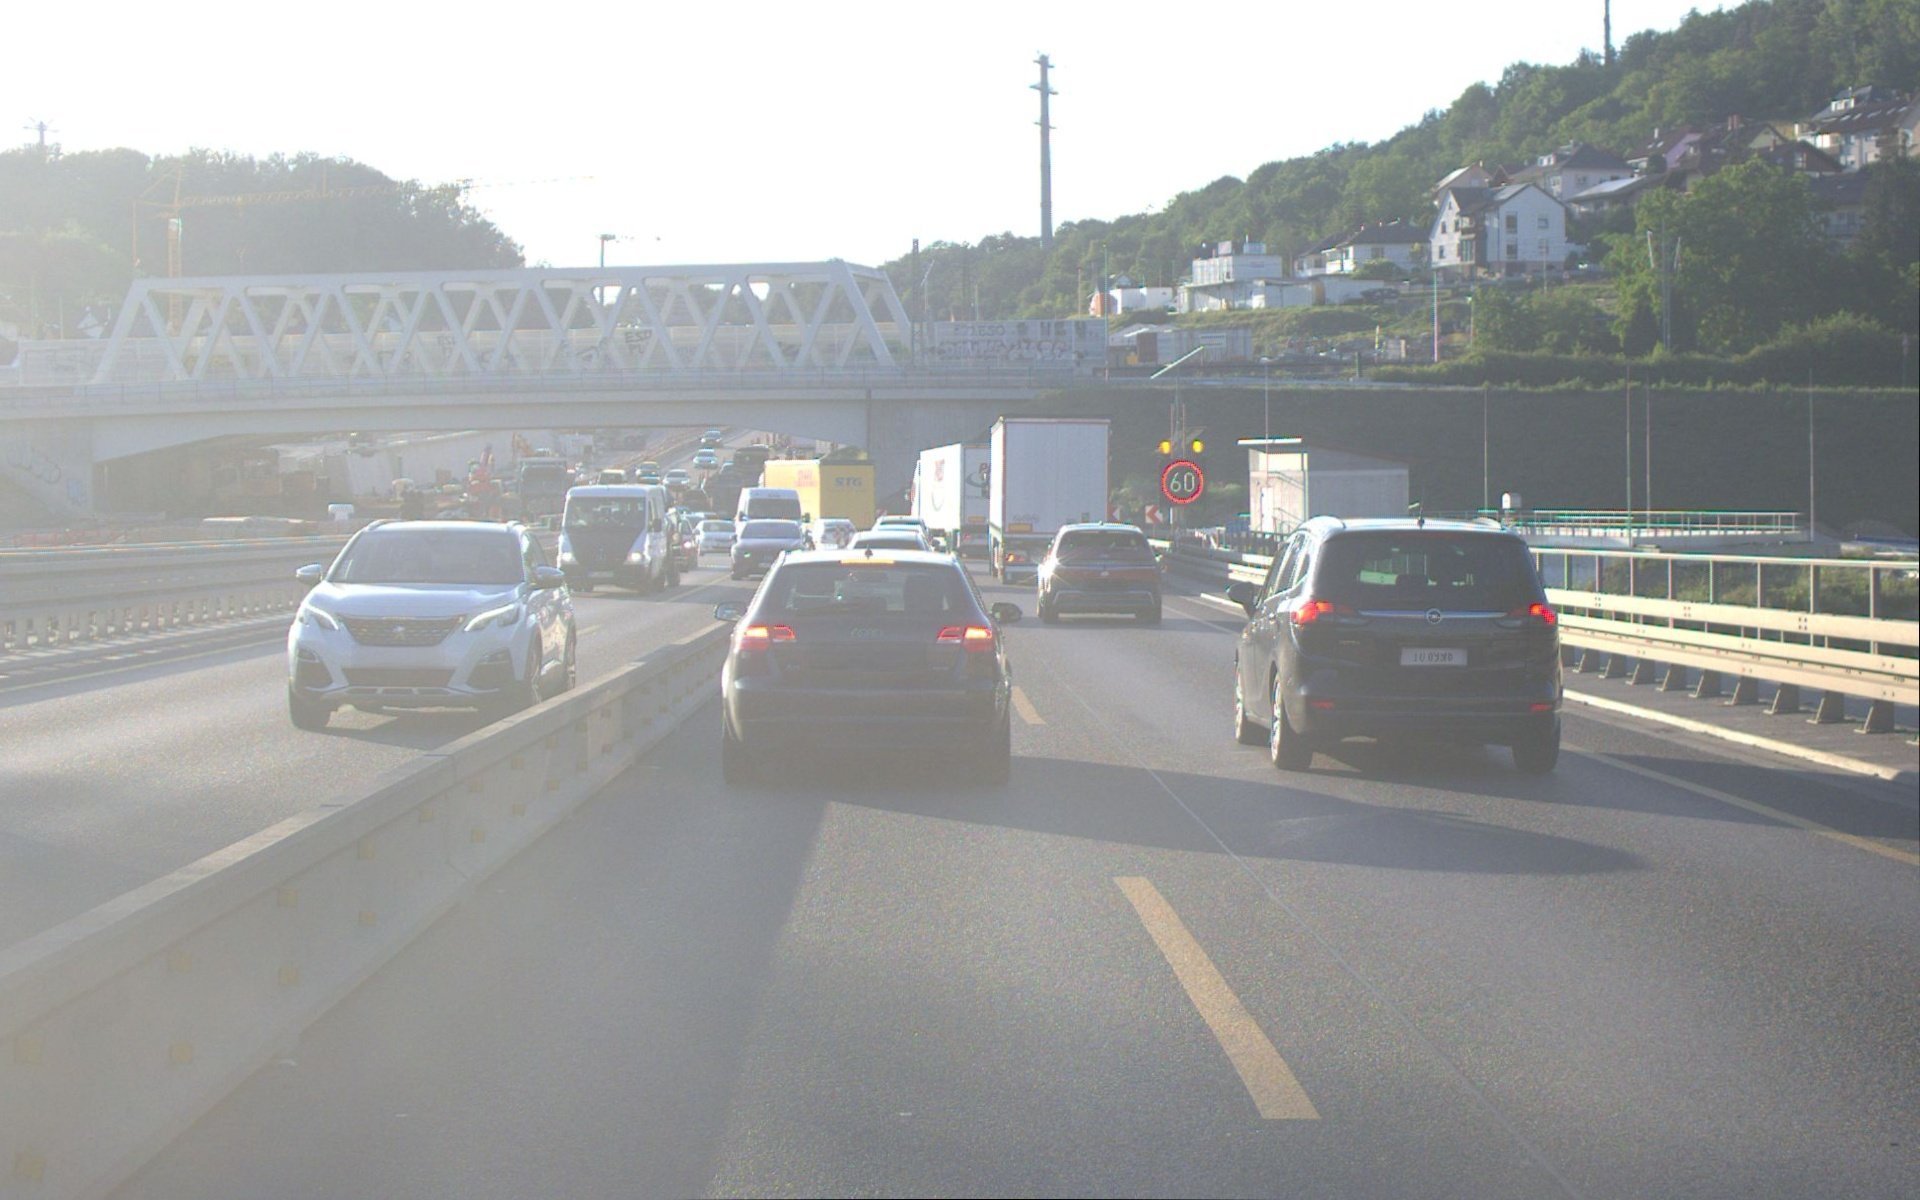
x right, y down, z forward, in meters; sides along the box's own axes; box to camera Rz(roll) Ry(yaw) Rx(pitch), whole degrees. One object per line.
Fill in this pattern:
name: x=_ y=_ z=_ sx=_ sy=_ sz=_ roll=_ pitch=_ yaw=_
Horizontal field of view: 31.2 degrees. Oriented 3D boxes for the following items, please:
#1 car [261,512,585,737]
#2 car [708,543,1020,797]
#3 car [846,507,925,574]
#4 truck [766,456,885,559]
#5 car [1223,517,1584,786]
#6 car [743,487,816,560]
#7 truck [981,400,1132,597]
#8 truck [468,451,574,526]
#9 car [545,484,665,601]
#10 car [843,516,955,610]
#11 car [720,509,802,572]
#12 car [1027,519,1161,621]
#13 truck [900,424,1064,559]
car: x=-4.151 y=0.138 z=27.187 sx=1.838 sy=1.634 sz=4.000 roll=-1 pitch=1 yaw=1
car: x=-0.613 y=0.371 z=21.767 sx=1.770 sy=1.385 sz=4.001 roll=1 pitch=1 yaw=-2
car: x=-1.737 y=-1.414 z=81.088 sx=1.765 sy=1.481 sz=4.000 roll=2 pitch=1 yaw=0
truck: x=-6.415 y=-4.413 z=161.036 sx=3.889 sy=4.482 sz=13.853 roll=1 pitch=2 yaw=-9
car: x=2.914 y=0.268 z=23.474 sx=1.814 sy=1.626 sz=4.411 roll=1 pitch=1 yaw=-1
car: x=-6.324 y=-2.678 z=119.695 sx=2.073 sy=2.449 sz=6.268 roll=1 pitch=1 yaw=-7
truck: x=2.326 y=-2.521 z=87.230 sx=3.385 sy=4.483 sz=15.267 roll=1 pitch=1 yaw=1
truck: x=-23.385 y=-5.925 z=182.645 sx=2.930 sy=3.877 sz=10.267 roll=0 pitch=2 yaw=-22
car: x=-7.431 y=-1.233 z=72.371 sx=1.993 sy=2.315 sz=5.935 roll=1 pitch=1 yaw=-1
car: x=-1.070 y=-0.653 z=58.368 sx=1.765 sy=1.481 sz=4.001 roll=2 pitch=1 yaw=-2
car: x=-5.095 y=-1.542 z=87.928 sx=1.993 sy=1.525 sz=5.783 roll=1 pitch=1 yaw=-3
car: x=2.148 y=-0.518 z=56.054 sx=1.770 sy=1.547 sz=4.001 roll=2 pitch=1 yaw=-3
truck: x=0.614 y=-3.866 z=124.194 sx=3.889 sy=4.483 sz=15.271 roll=1 pitch=1 yaw=-7
